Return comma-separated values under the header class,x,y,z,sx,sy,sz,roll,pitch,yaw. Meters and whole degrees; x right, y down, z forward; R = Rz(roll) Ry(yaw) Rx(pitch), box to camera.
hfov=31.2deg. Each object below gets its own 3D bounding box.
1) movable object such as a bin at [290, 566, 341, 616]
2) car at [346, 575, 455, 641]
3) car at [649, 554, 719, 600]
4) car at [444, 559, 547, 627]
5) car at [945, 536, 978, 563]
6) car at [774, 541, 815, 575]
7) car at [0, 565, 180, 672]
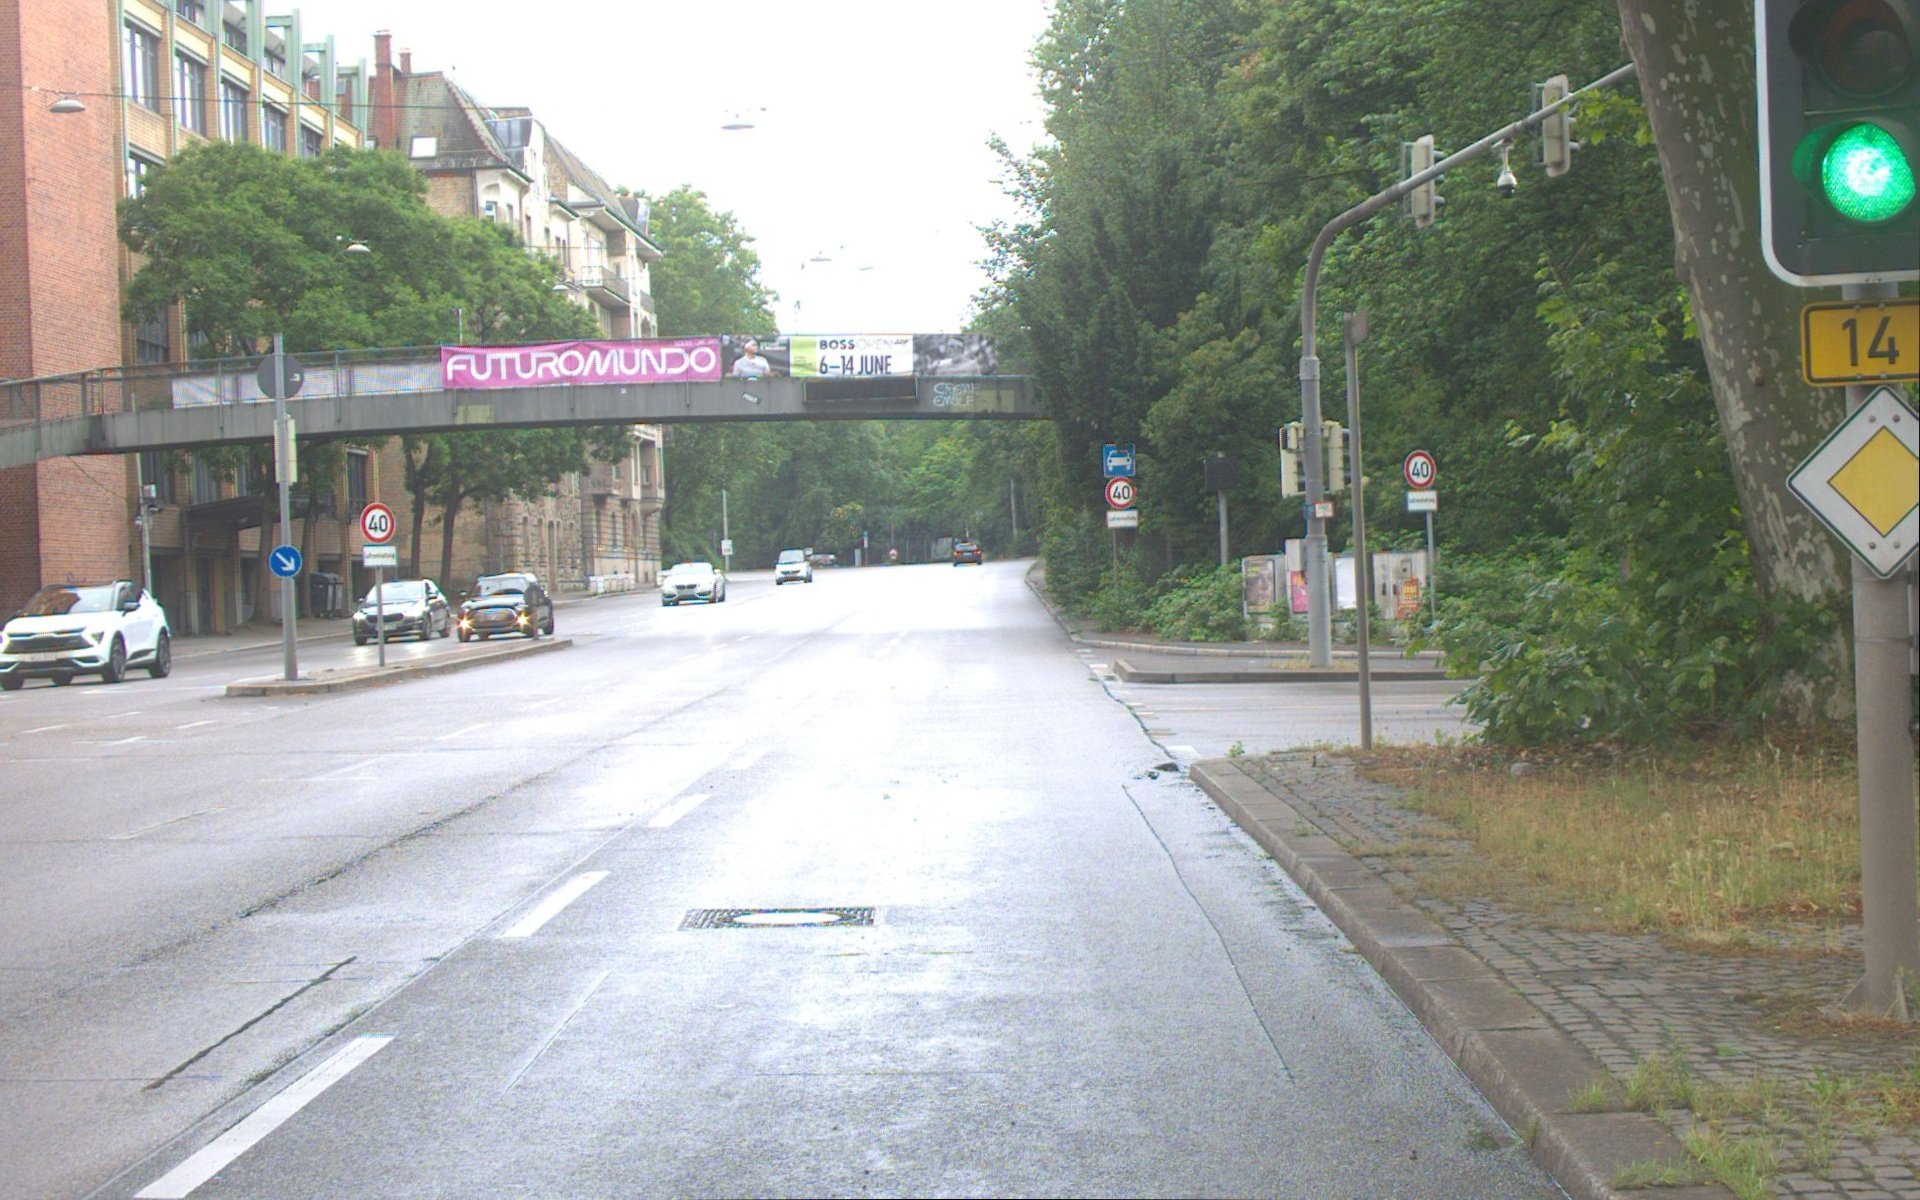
class,x,y,z,sx,sy,sz,roll,pitch,yaw
movable object such as a bin,-20.090,-0.298,107.150,1.282,1.513,1.273,-1,1,1
car,-13.214,0.163,81.429,1.709,1.459,4.041,-2,0,3
car,-9.130,-0.768,114.077,1.830,1.389,4.405,-3,0,1
car,-10.348,-0.167,76.787,1.683,1.431,3.862,-2,0,1
car,0.107,-3.167,215.791,2.004,1.638,4.376,-2,1,0
car,-7.698,-1.944,159.750,1.600,1.494,3.711,-3,0,1
car,-13.998,0.262,54.931,1.890,1.604,4.456,-1,0,2
